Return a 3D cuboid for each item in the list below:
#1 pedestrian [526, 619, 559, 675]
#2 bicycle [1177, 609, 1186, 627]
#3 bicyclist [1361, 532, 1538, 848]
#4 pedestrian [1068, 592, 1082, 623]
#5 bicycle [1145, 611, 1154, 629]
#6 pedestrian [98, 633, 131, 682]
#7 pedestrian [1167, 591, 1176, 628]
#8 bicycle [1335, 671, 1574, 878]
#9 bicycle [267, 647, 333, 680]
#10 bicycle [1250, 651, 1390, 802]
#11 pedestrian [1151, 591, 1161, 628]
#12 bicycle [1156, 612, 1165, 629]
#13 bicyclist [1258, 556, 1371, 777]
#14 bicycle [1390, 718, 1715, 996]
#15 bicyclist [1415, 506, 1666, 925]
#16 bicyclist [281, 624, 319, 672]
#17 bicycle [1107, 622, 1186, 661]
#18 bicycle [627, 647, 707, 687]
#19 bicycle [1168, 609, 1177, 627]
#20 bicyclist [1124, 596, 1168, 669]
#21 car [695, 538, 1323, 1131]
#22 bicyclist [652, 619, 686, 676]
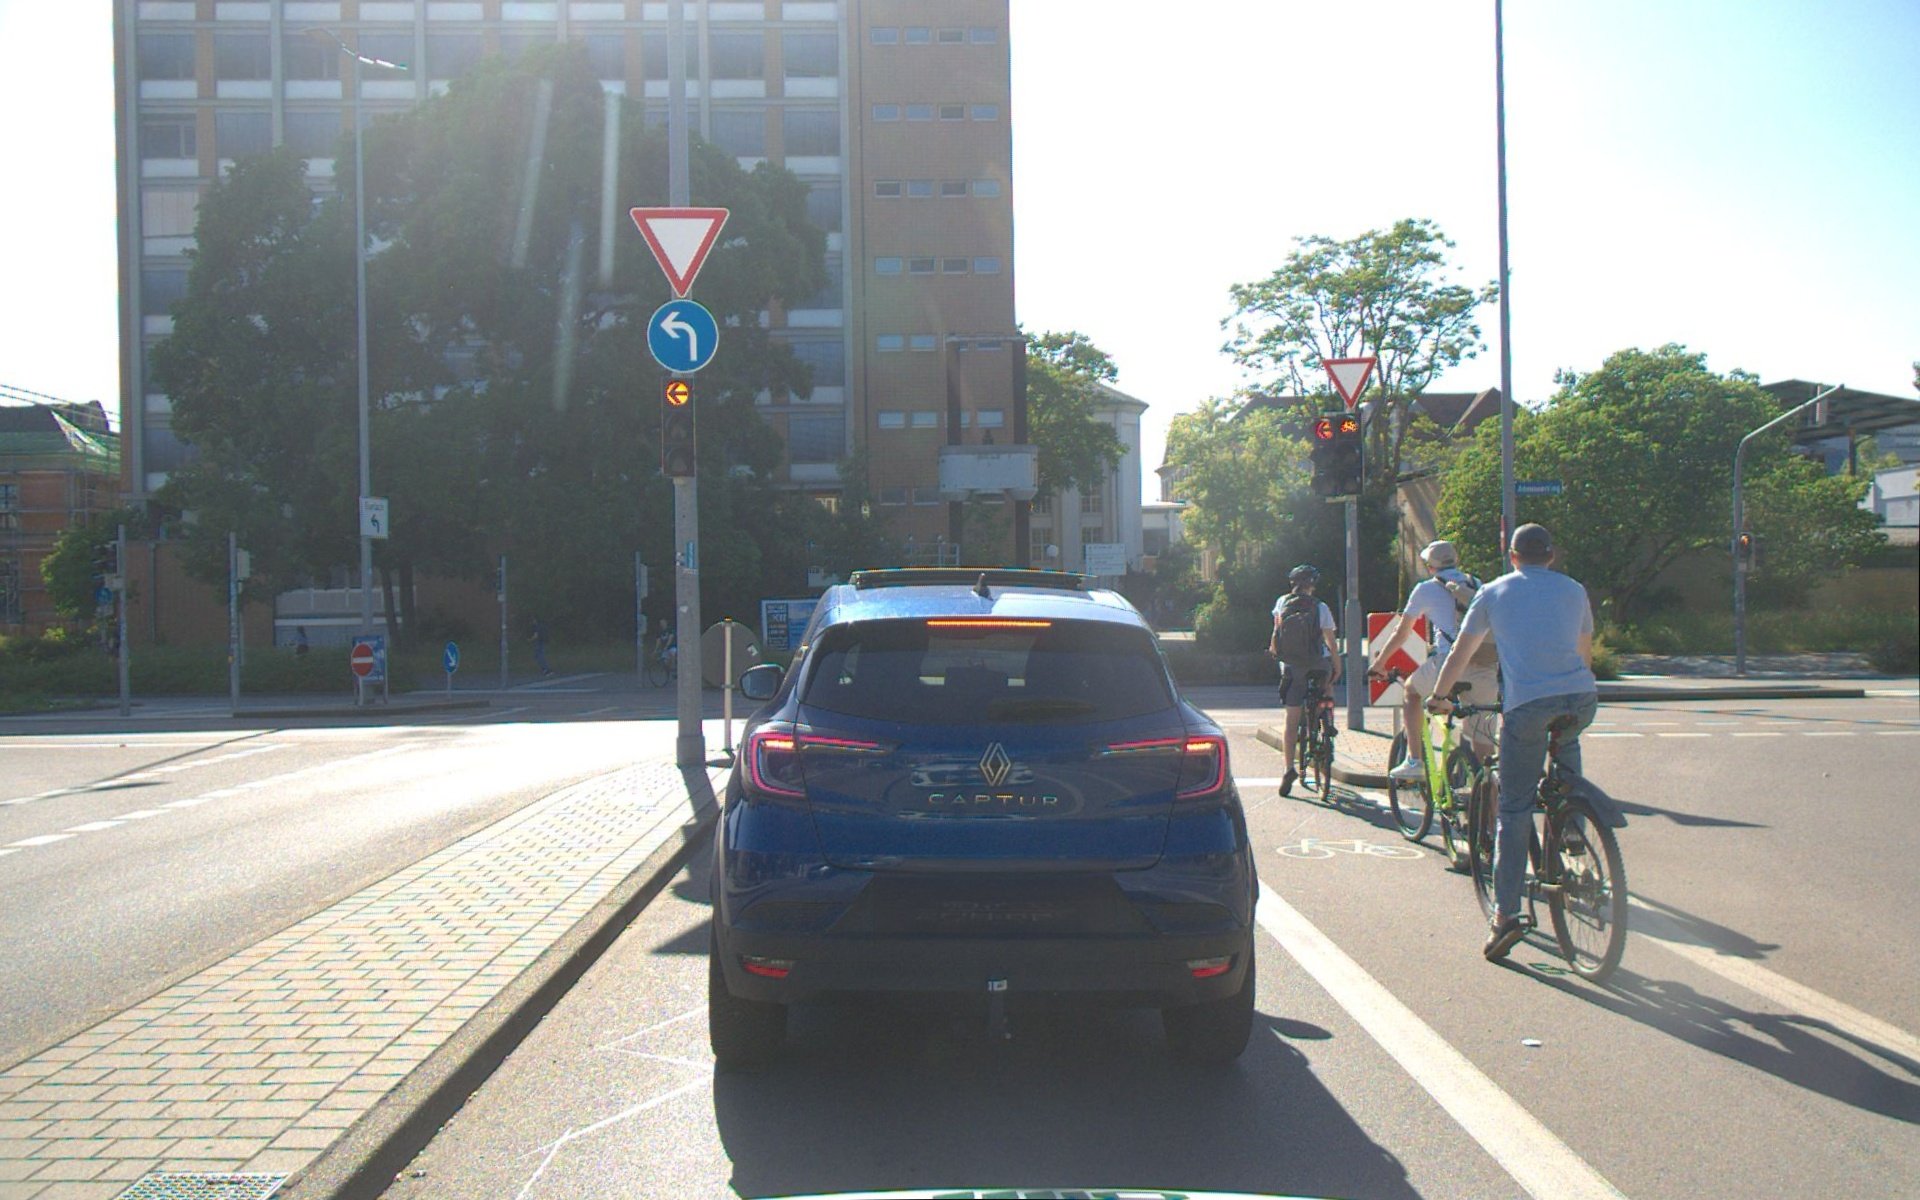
[{"bbox_3d":[-12.391,1.393,49.089,0.721,1.631,0.599,-1,0,12],"label":"pedestrian"},{"bbox_3d":[12.680,1.034,94.584,0.397,0.990,1.684,1,0,3],"label":"bicycle"},{"bbox_3d":[2.886,0.509,9.835,0.633,1.769,1.065,1,0,-6],"label":"bicyclist"},{"bbox_3d":[7.094,0.452,102.044,0.615,1.888,0.559,-1,0,-23],"label":"pedestrian"},{"bbox_3d":[10.794,1.146,94.217,0.397,0.990,1.684,1,0,3],"label":"bicycle"},{"bbox_3d":[-27.976,1.910,54.743,0.843,1.598,0.559,-1,0,25],"label":"pedestrian"},{"bbox_3d":[11.827,0.541,92.557,0.465,2.049,0.468,-1,0,5],"label":"pedestrian"},{"bbox_3d":[2.874,0.977,9.839,0.646,1.020,1.967,1,0,-6],"label":"bicycle"},{"bbox_3d":[-20.311,1.943,50.880,2.034,0.981,0.598,-1,0,23],"label":"bicycle"},{"bbox_3d":[2.764,0.936,12.918,0.723,1.012,2.174,1,0,3],"label":"bicycle"},{"bbox_3d":[10.796,0.517,91.190,0.465,2.049,0.523,-1,0,5],"label":"pedestrian"},{"bbox_3d":[11.404,1.157,94.183,0.397,0.990,1.684,1,0,3],"label":"bicycle"},{"bbox_3d":[2.763,0.501,12.969,0.711,1.657,0.969,1,0,3],"label":"bicyclist"},{"bbox_3d":[2.506,1.045,7.268,0.725,0.911,1.978,1,0,0],"label":"bicycle"},{"bbox_3d":[2.512,0.475,7.265,0.736,1.698,1.016,1,0,0],"label":"bicyclist"},{"bbox_3d":[-20.318,1.486,50.886,0.917,1.454,0.598,-1,0,23],"label":"bicyclist"},{"bbox_3d":[4.967,1.109,43.945,2.037,0.946,0.697,-2,1,9],"label":"bicycle"},{"bbox_3d":[-7.718,1.764,43.612,1.982,0.981,0.593,-1,0,-28],"label":"bicycle"},{"bbox_3d":[12.155,1.025,94.562,0.397,0.990,1.684,1,0,3],"label":"bicycle"},{"bbox_3d":[4.937,0.860,43.920,1.078,1.900,0.653,-1,0,10],"label":"bicyclist"},{"bbox_3d":[0.064,0.667,6.676,1.767,1.660,3.998,1,0,-3],"label":"car"},{"bbox_3d":[-7.670,1.241,43.639,0.728,1.466,0.593,-1,0,-27],"label":"bicyclist"}]
